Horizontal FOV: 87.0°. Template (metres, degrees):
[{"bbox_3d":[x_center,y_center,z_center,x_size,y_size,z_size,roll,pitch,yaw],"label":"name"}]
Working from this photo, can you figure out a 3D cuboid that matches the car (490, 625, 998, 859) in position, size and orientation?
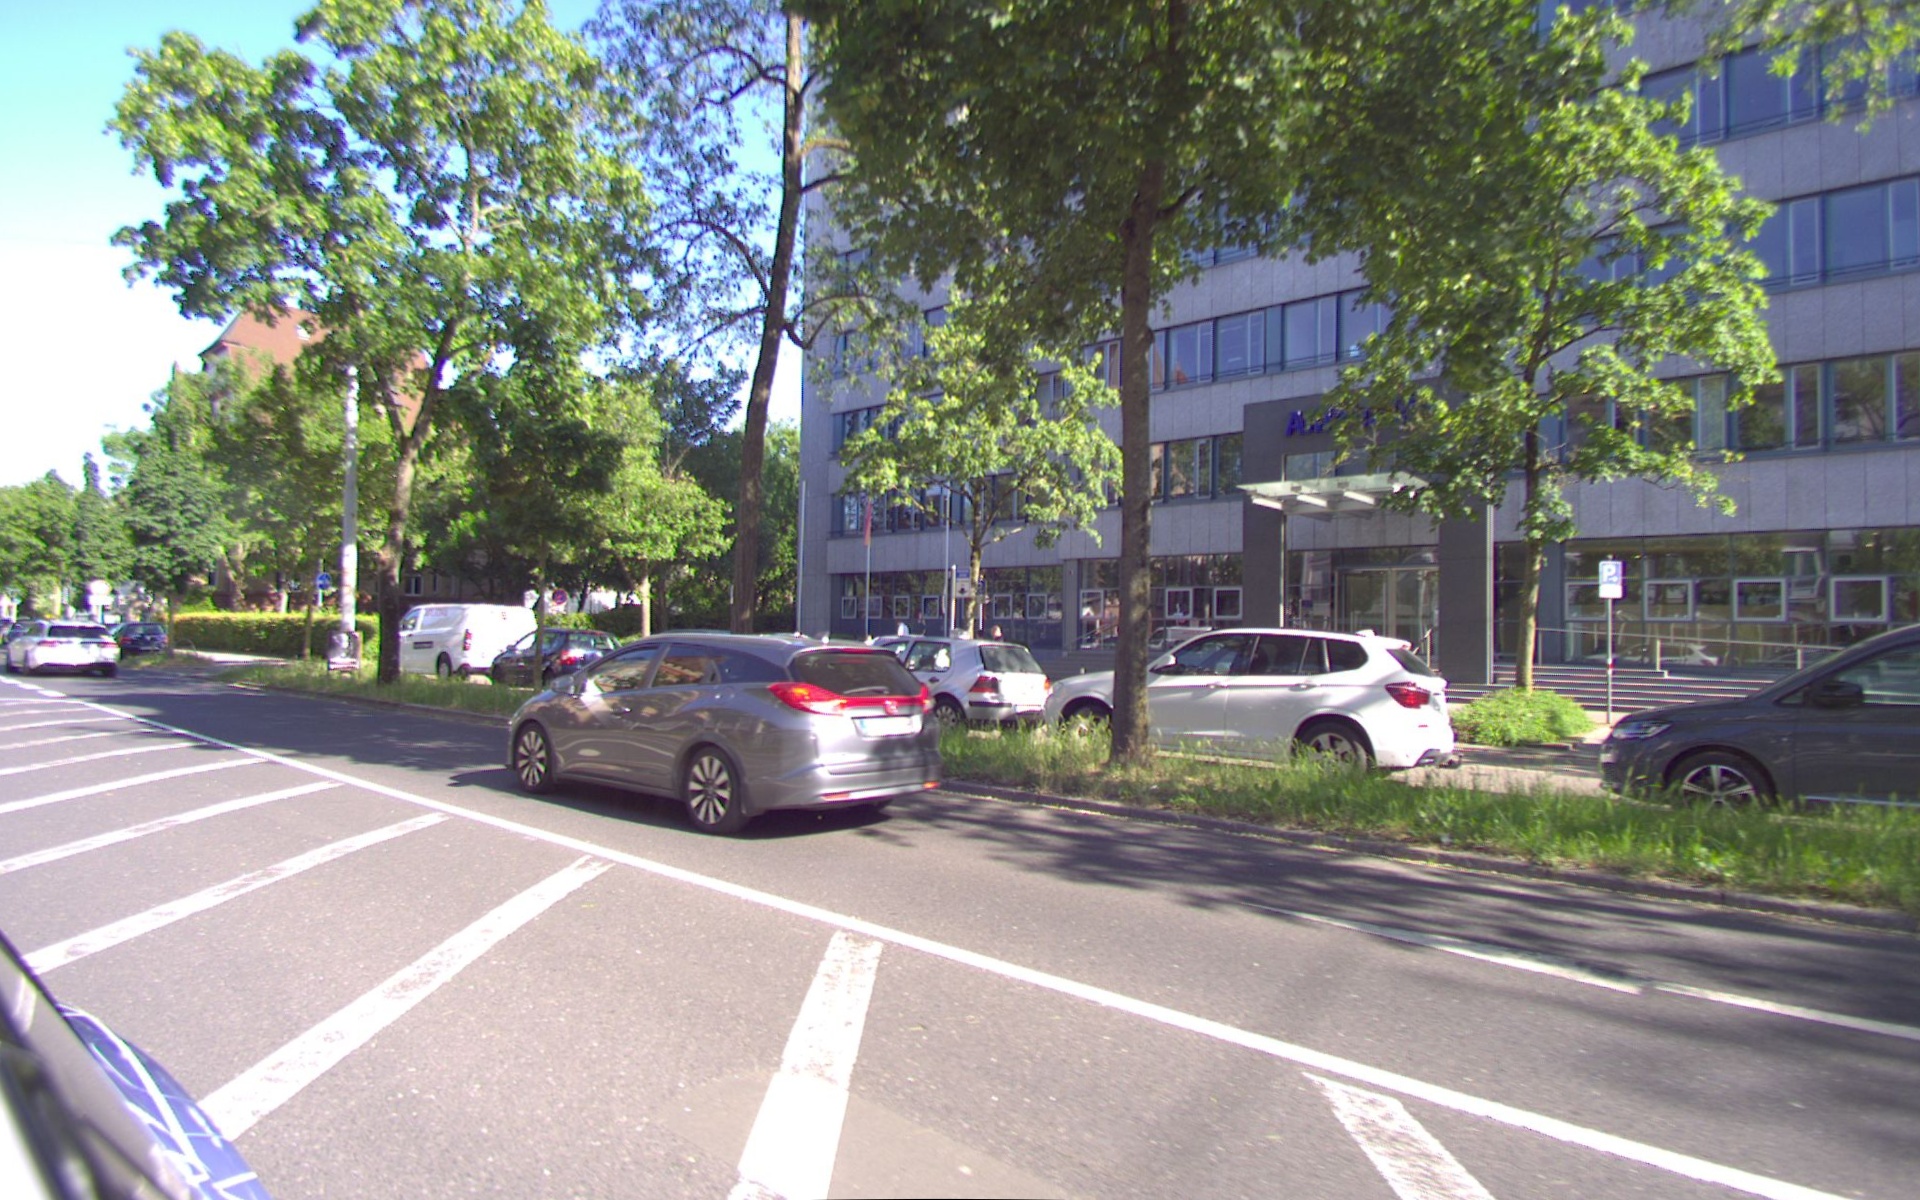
[{"bbox_3d":[-1.956,0.975,8.453,4.314,1.451,1.837,-1,-4,40],"label":"car"}]

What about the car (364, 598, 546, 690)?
[{"bbox_3d":[-12.732,1.085,25.381,5.189,2.092,1.962,-1,-4,38],"label":"car"}]

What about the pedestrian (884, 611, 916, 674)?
[{"bbox_3d":[-2.060,1.456,34.701,0.792,2.109,0.763,0,0,42],"label":"pedestrian"}]

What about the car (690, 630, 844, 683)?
[{"bbox_3d":[-5.936,1.701,31.576,1.935,1.453,4.568,-1,-1,38],"label":"car"}]

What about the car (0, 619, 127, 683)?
[{"bbox_3d":[-24.140,1.337,27.110,4.710,1.580,1.837,-1,-4,39],"label":"car"}]

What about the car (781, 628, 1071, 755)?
[{"bbox_3d":[-0.586,1.190,14.569,4.062,1.534,1.836,-1,-2,42],"label":"car"}]

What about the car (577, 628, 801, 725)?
[{"bbox_3d":[-5.029,1.302,18.508,4.315,1.534,1.837,-1,-1,40],"label":"car"}]

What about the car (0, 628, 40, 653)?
[{"bbox_3d":[-51.229,2.152,54.773,4.012,1.265,1.661,-1,-1,41],"label":"car"}]

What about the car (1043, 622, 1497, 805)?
[{"bbox_3d":[3.416,1.108,11.596,4.654,1.697,1.840,-1,-1,35],"label":"car"}]

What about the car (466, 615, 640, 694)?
[{"bbox_3d":[-8.795,1.096,21.705,4.318,1.534,1.762,-1,-2,42],"label":"car"}]

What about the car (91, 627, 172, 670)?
[{"bbox_3d":[-30.319,1.722,37.006,4.071,1.470,1.694,-1,-2,42],"label":"car"}]

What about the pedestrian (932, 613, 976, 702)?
[{"bbox_3d":[-0.150,1.371,24.660,0.779,2.109,0.775,0,0,-39],"label":"pedestrian"}]

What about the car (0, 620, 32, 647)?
[{"bbox_3d":[-56.665,1.950,59.753,4.696,1.505,1.840,-1,1,36],"label":"car"}]

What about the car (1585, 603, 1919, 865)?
[{"bbox_3d":[7.590,0.960,7.754,4.557,1.864,1.837,-1,-1,40],"label":"car"}]

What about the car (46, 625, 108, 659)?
[{"bbox_3d":[-39.167,1.817,44.855,4.191,1.394,1.670,-1,0,43],"label":"car"}]

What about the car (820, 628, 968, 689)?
[{"bbox_3d":[-1.786,1.591,28.669,1.859,1.534,4.264,-1,-1,37],"label":"car"}]
